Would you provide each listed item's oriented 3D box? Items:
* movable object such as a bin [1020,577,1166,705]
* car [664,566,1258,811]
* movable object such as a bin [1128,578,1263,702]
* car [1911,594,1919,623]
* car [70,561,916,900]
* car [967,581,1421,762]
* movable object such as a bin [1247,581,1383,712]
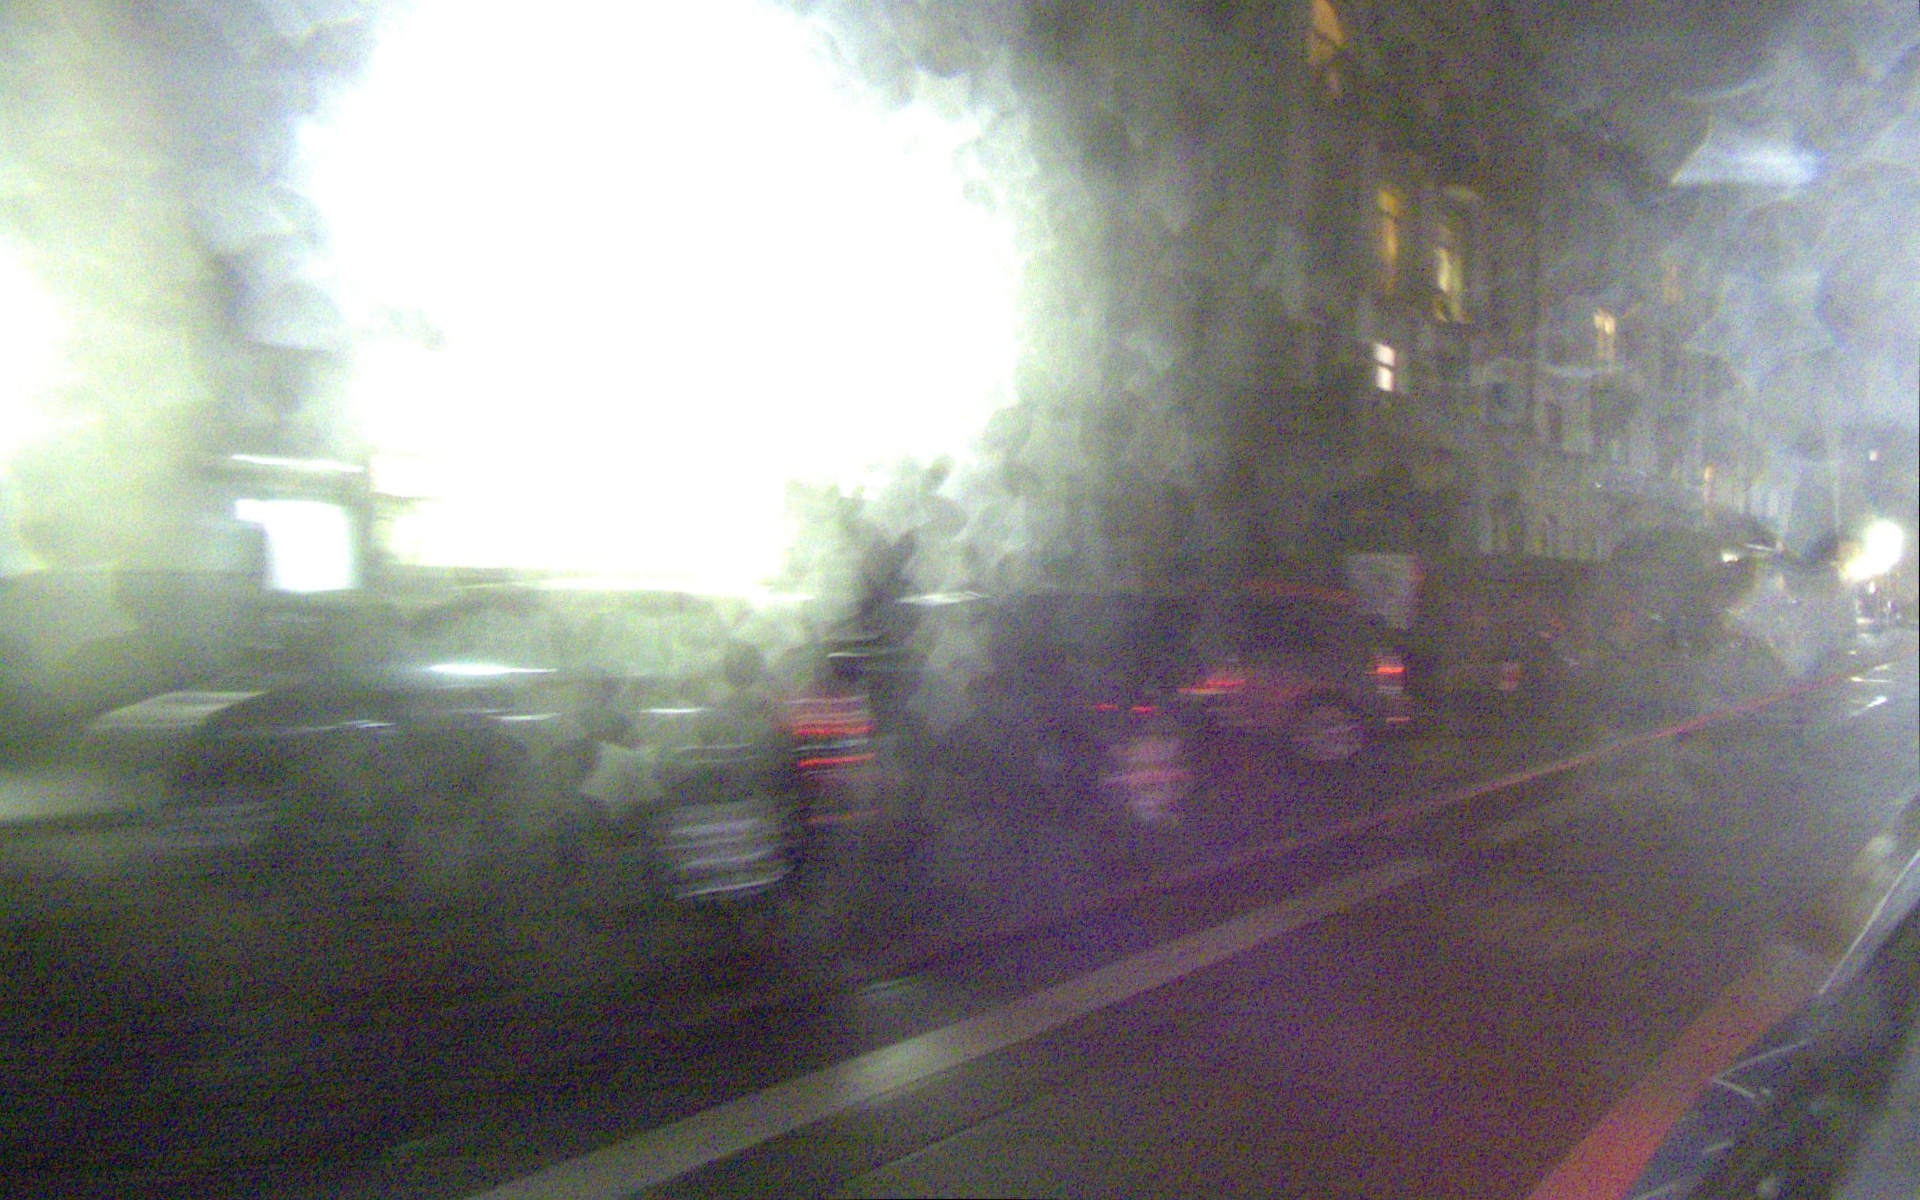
[{"bbox_3d":[1.598,0.453,12.161,1.390,1.424,1.027,0,1,-35],"label":"movable object such as a bin"},{"bbox_3d":[0.003,0.540,7.385,3.784,1.507,1.807,1,1,2],"label":"car"},{"bbox_3d":[2.964,0.457,12.698,1.400,1.424,1.016,2,1,30],"label":"movable object such as a bin"},{"bbox_3d":[52.530,0.510,54.398,3.986,1.458,1.649,0,5,-42],"label":"car"},{"bbox_3d":[-2.198,0.570,5.326,3.767,1.457,1.598,0,0,5],"label":"car"},{"bbox_3d":[2.015,0.592,9.388,3.725,1.476,1.766,0,0,7],"label":"car"},{"bbox_3d":[4.202,0.496,11.957,1.341,1.424,1.016,2,1,30],"label":"movable object such as a bin"}]
